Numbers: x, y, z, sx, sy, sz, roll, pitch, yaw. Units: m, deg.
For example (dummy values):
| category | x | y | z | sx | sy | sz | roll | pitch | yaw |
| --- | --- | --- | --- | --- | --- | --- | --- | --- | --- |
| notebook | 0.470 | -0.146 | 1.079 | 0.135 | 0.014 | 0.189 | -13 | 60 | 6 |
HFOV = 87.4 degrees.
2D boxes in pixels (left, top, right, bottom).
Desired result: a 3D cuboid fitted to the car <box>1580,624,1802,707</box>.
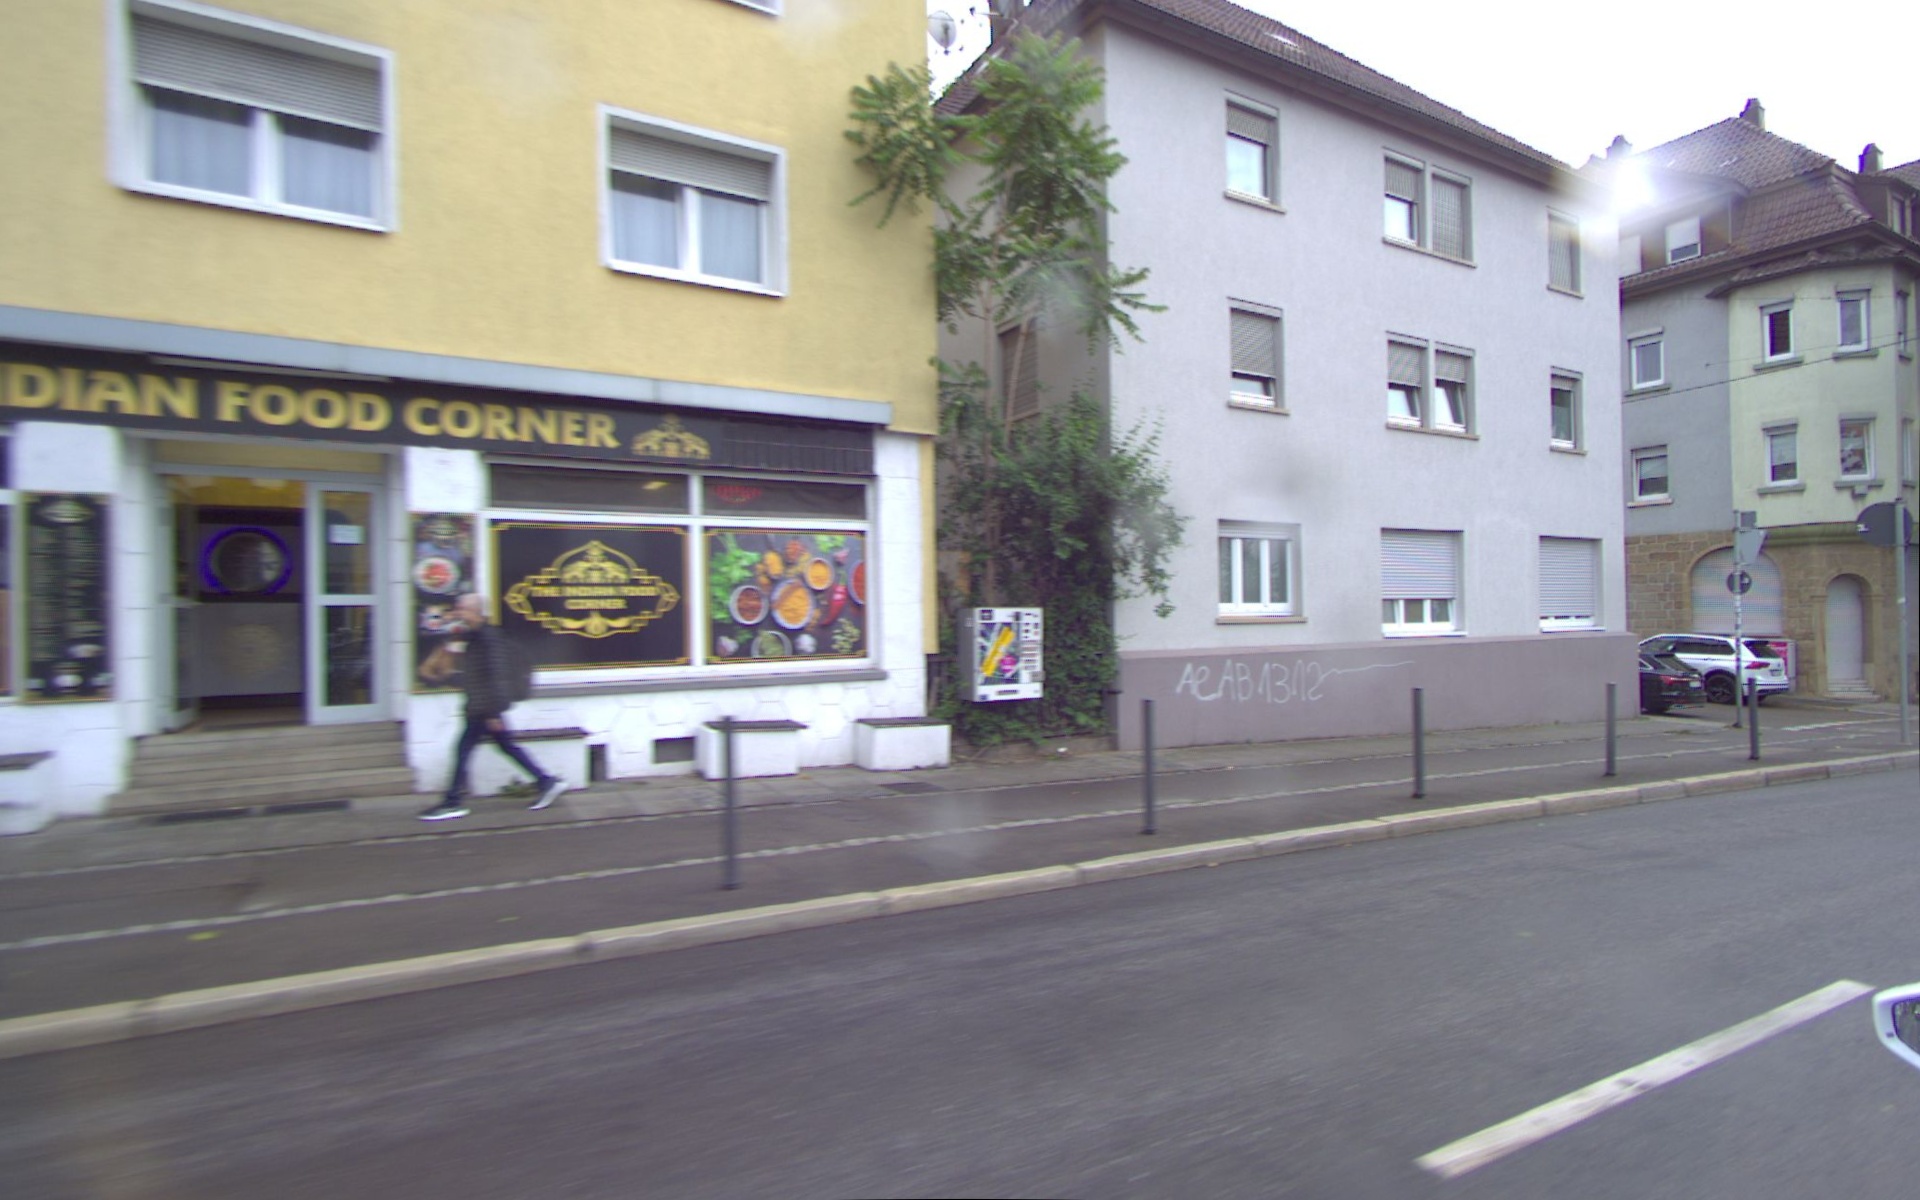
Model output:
| category | x | y | z | sx | sy | sz | roll | pitch | yaw |
| --- | --- | --- | --- | --- | --- | --- | --- | --- | --- |
| car | 18.751 | 1.609 | 25.958 | 1.976 | 1.727 | 4.162 | 1 | 2 | -30 |

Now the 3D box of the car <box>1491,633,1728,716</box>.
| category | x | y | z | sx | sy | sz | roll | pitch | yaw |
| --- | --- | --- | --- | --- | --- | --- | --- | --- | --- |
| car | 14.395 | 1.575 | 22.488 | 1.977 | 1.416 | 3.966 | 1 | 2 | -31 |

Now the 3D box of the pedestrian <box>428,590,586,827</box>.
| category | x | y | z | sx | sy | sz | roll | pitch | yaw |
| --- | --- | --- | --- | --- | --- | --- | --- | --- | --- |
| pedestrian | -3.528 | 0.792 | 7.807 | 0.982 | 1.701 | 0.810 | 2 | -1 | -33 |
